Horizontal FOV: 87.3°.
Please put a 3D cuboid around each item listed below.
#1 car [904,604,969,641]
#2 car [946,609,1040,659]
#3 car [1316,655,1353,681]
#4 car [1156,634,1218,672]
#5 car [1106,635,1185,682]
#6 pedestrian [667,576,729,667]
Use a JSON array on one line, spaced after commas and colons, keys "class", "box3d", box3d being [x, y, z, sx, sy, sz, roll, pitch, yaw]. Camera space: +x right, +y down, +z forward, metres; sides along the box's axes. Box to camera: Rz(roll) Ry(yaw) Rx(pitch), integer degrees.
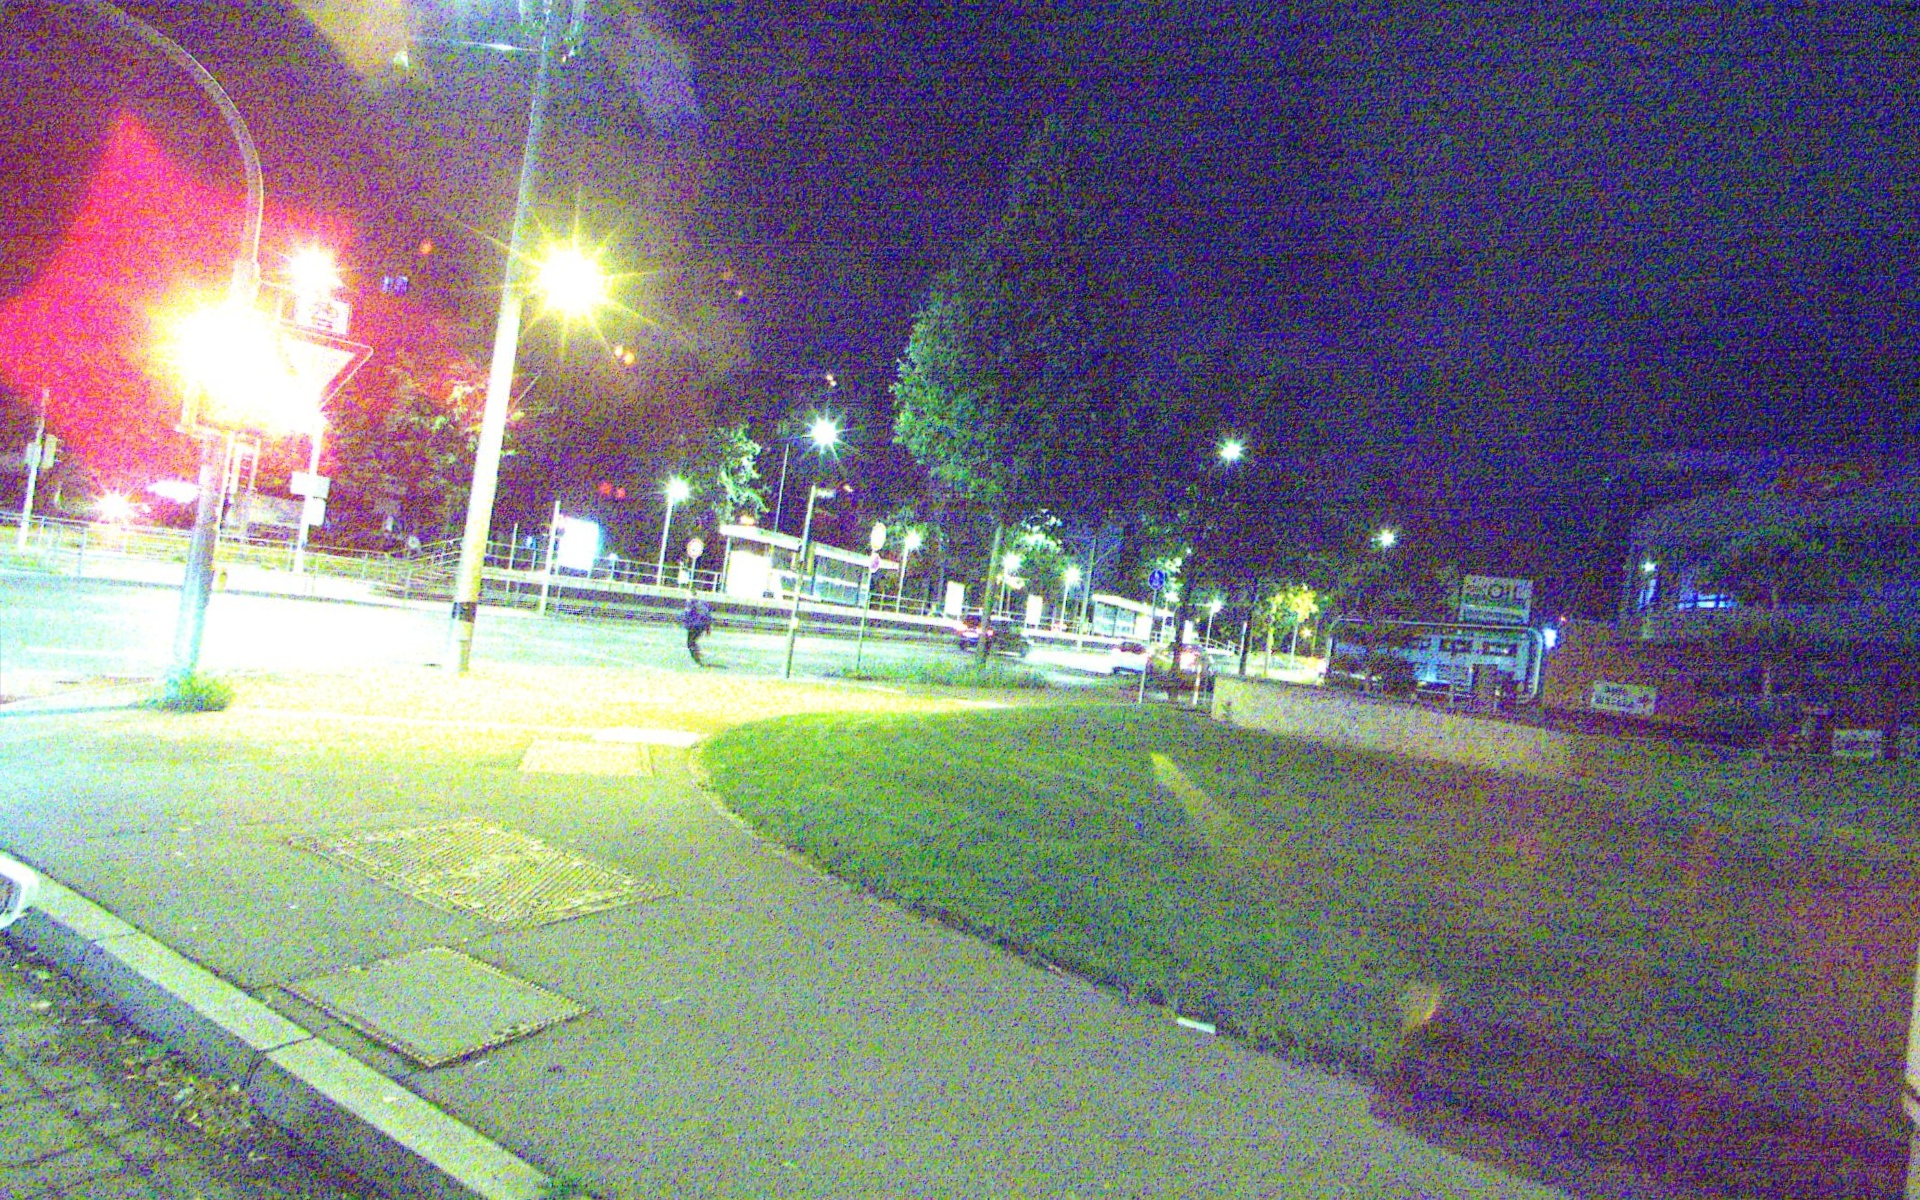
[{"class": "car", "box3d": [-1.469, 1.449, 64.375, 1.970, 2.039, 3.985, 6, 0, 36]}, {"class": "car", "box3d": [1.492, 1.510, 44.164, 1.834, 1.679, 4.449, 9, 0, 35]}, {"class": "car", "box3d": [30.527, 5.546, 81.943, 1.844, 1.703, 4.288, 9, 0, 32]}, {"class": "car", "box3d": [12.779, 2.987, 56.462, 1.781, 1.671, 4.346, 8, 0, 34]}, {"class": "car", "box3d": [8.084, 2.530, 43.639, 1.780, 1.684, 3.988, 10, 3, 33]}, {"class": "pedestrian", "box3d": [-5.396, 0.445, 20.701, 0.820, 1.767, 0.755, 6, 1, 31]}]
